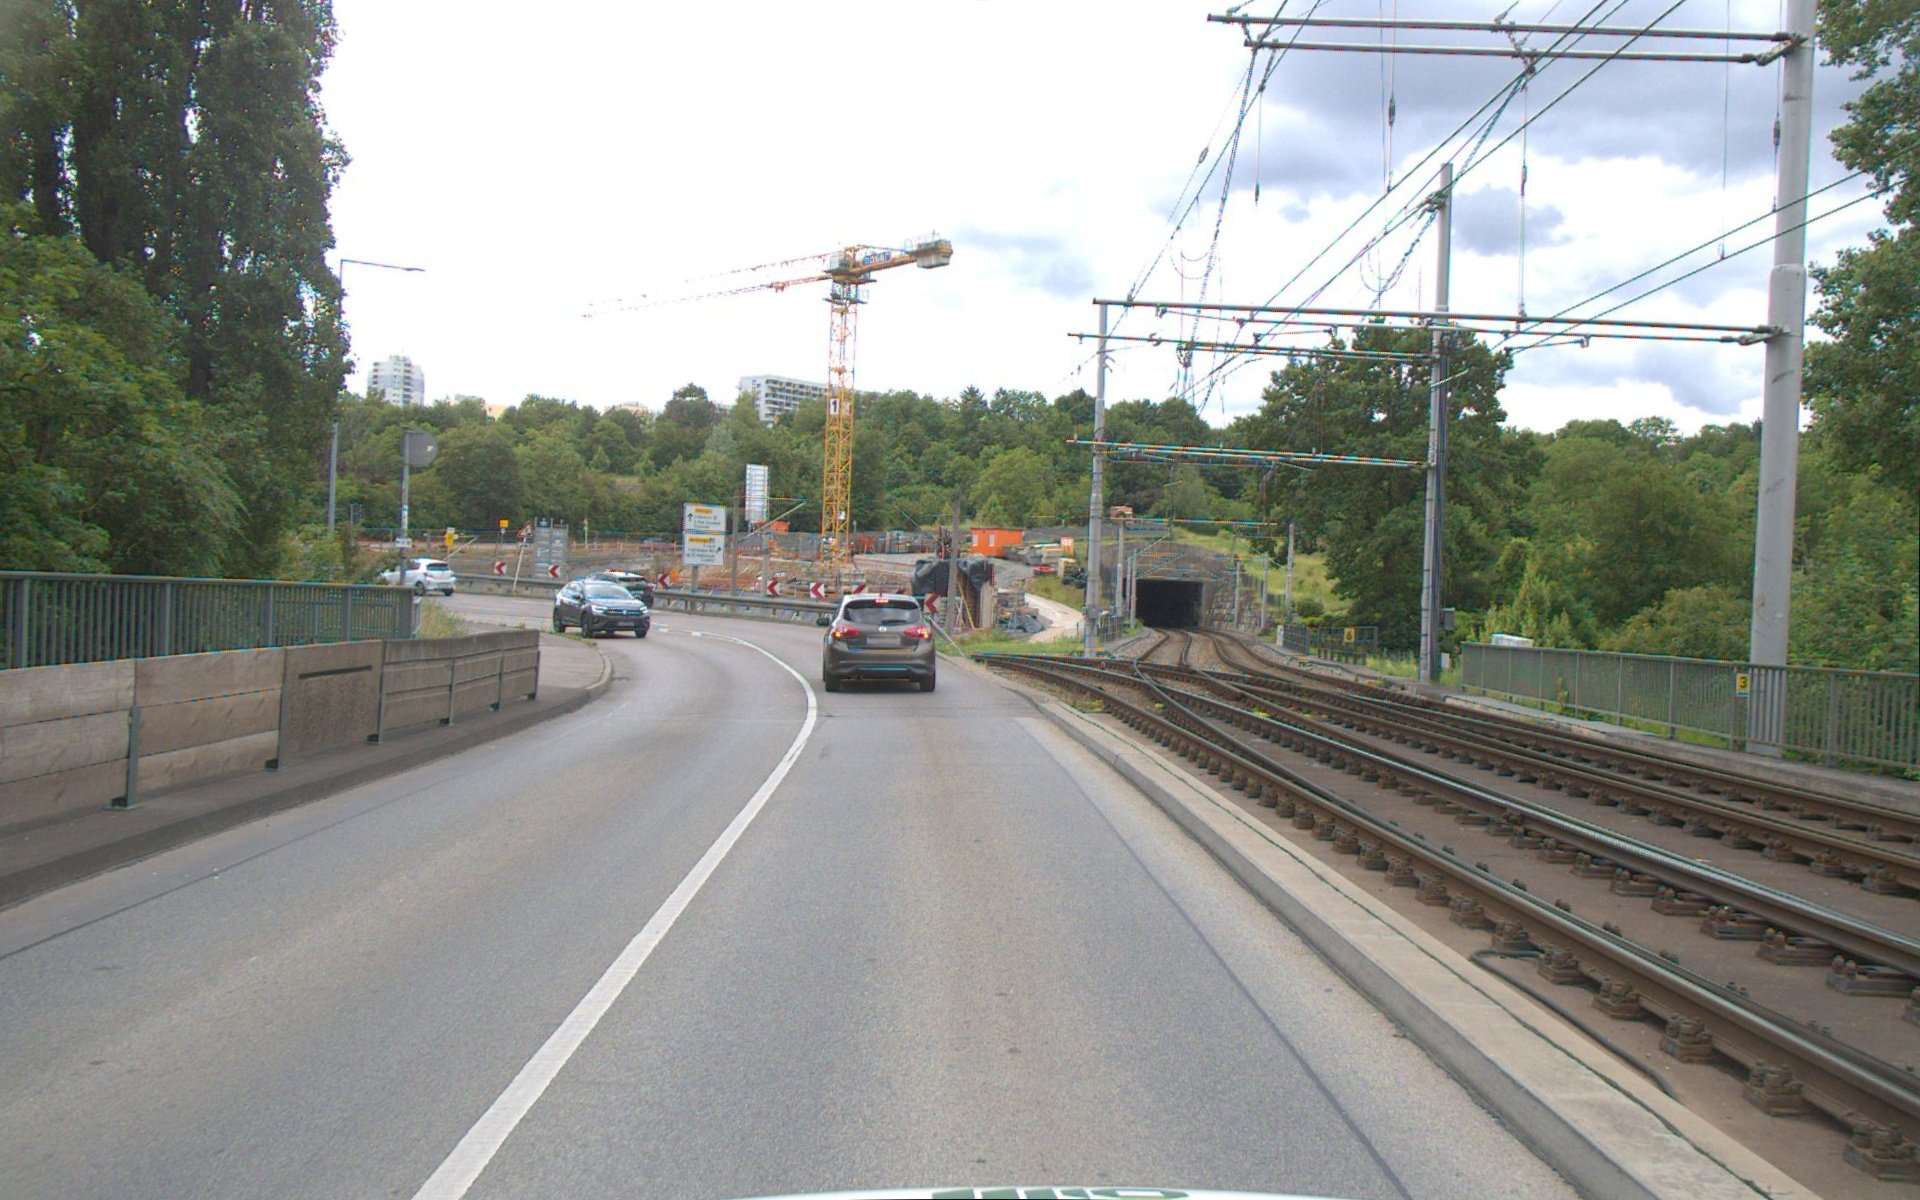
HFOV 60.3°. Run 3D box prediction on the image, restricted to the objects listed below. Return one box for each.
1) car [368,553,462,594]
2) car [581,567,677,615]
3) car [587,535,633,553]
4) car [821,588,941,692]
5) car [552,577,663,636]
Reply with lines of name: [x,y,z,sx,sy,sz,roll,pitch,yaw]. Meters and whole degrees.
car: [-23.412,-1.135,71.049,4.223,1.634,1.679,2,1,36]
car: [-12.222,-0.352,60.942,1.669,1.634,4.248,0,2,-40]
car: [-33.285,-5.309,157.277,3.909,1.434,1.798,3,0,26]
car: [-1.321,0.596,27.267,1.793,1.536,3.997,1,1,-3]
car: [-9.805,0.156,45.803,1.812,1.536,3.958,0,1,-31]
